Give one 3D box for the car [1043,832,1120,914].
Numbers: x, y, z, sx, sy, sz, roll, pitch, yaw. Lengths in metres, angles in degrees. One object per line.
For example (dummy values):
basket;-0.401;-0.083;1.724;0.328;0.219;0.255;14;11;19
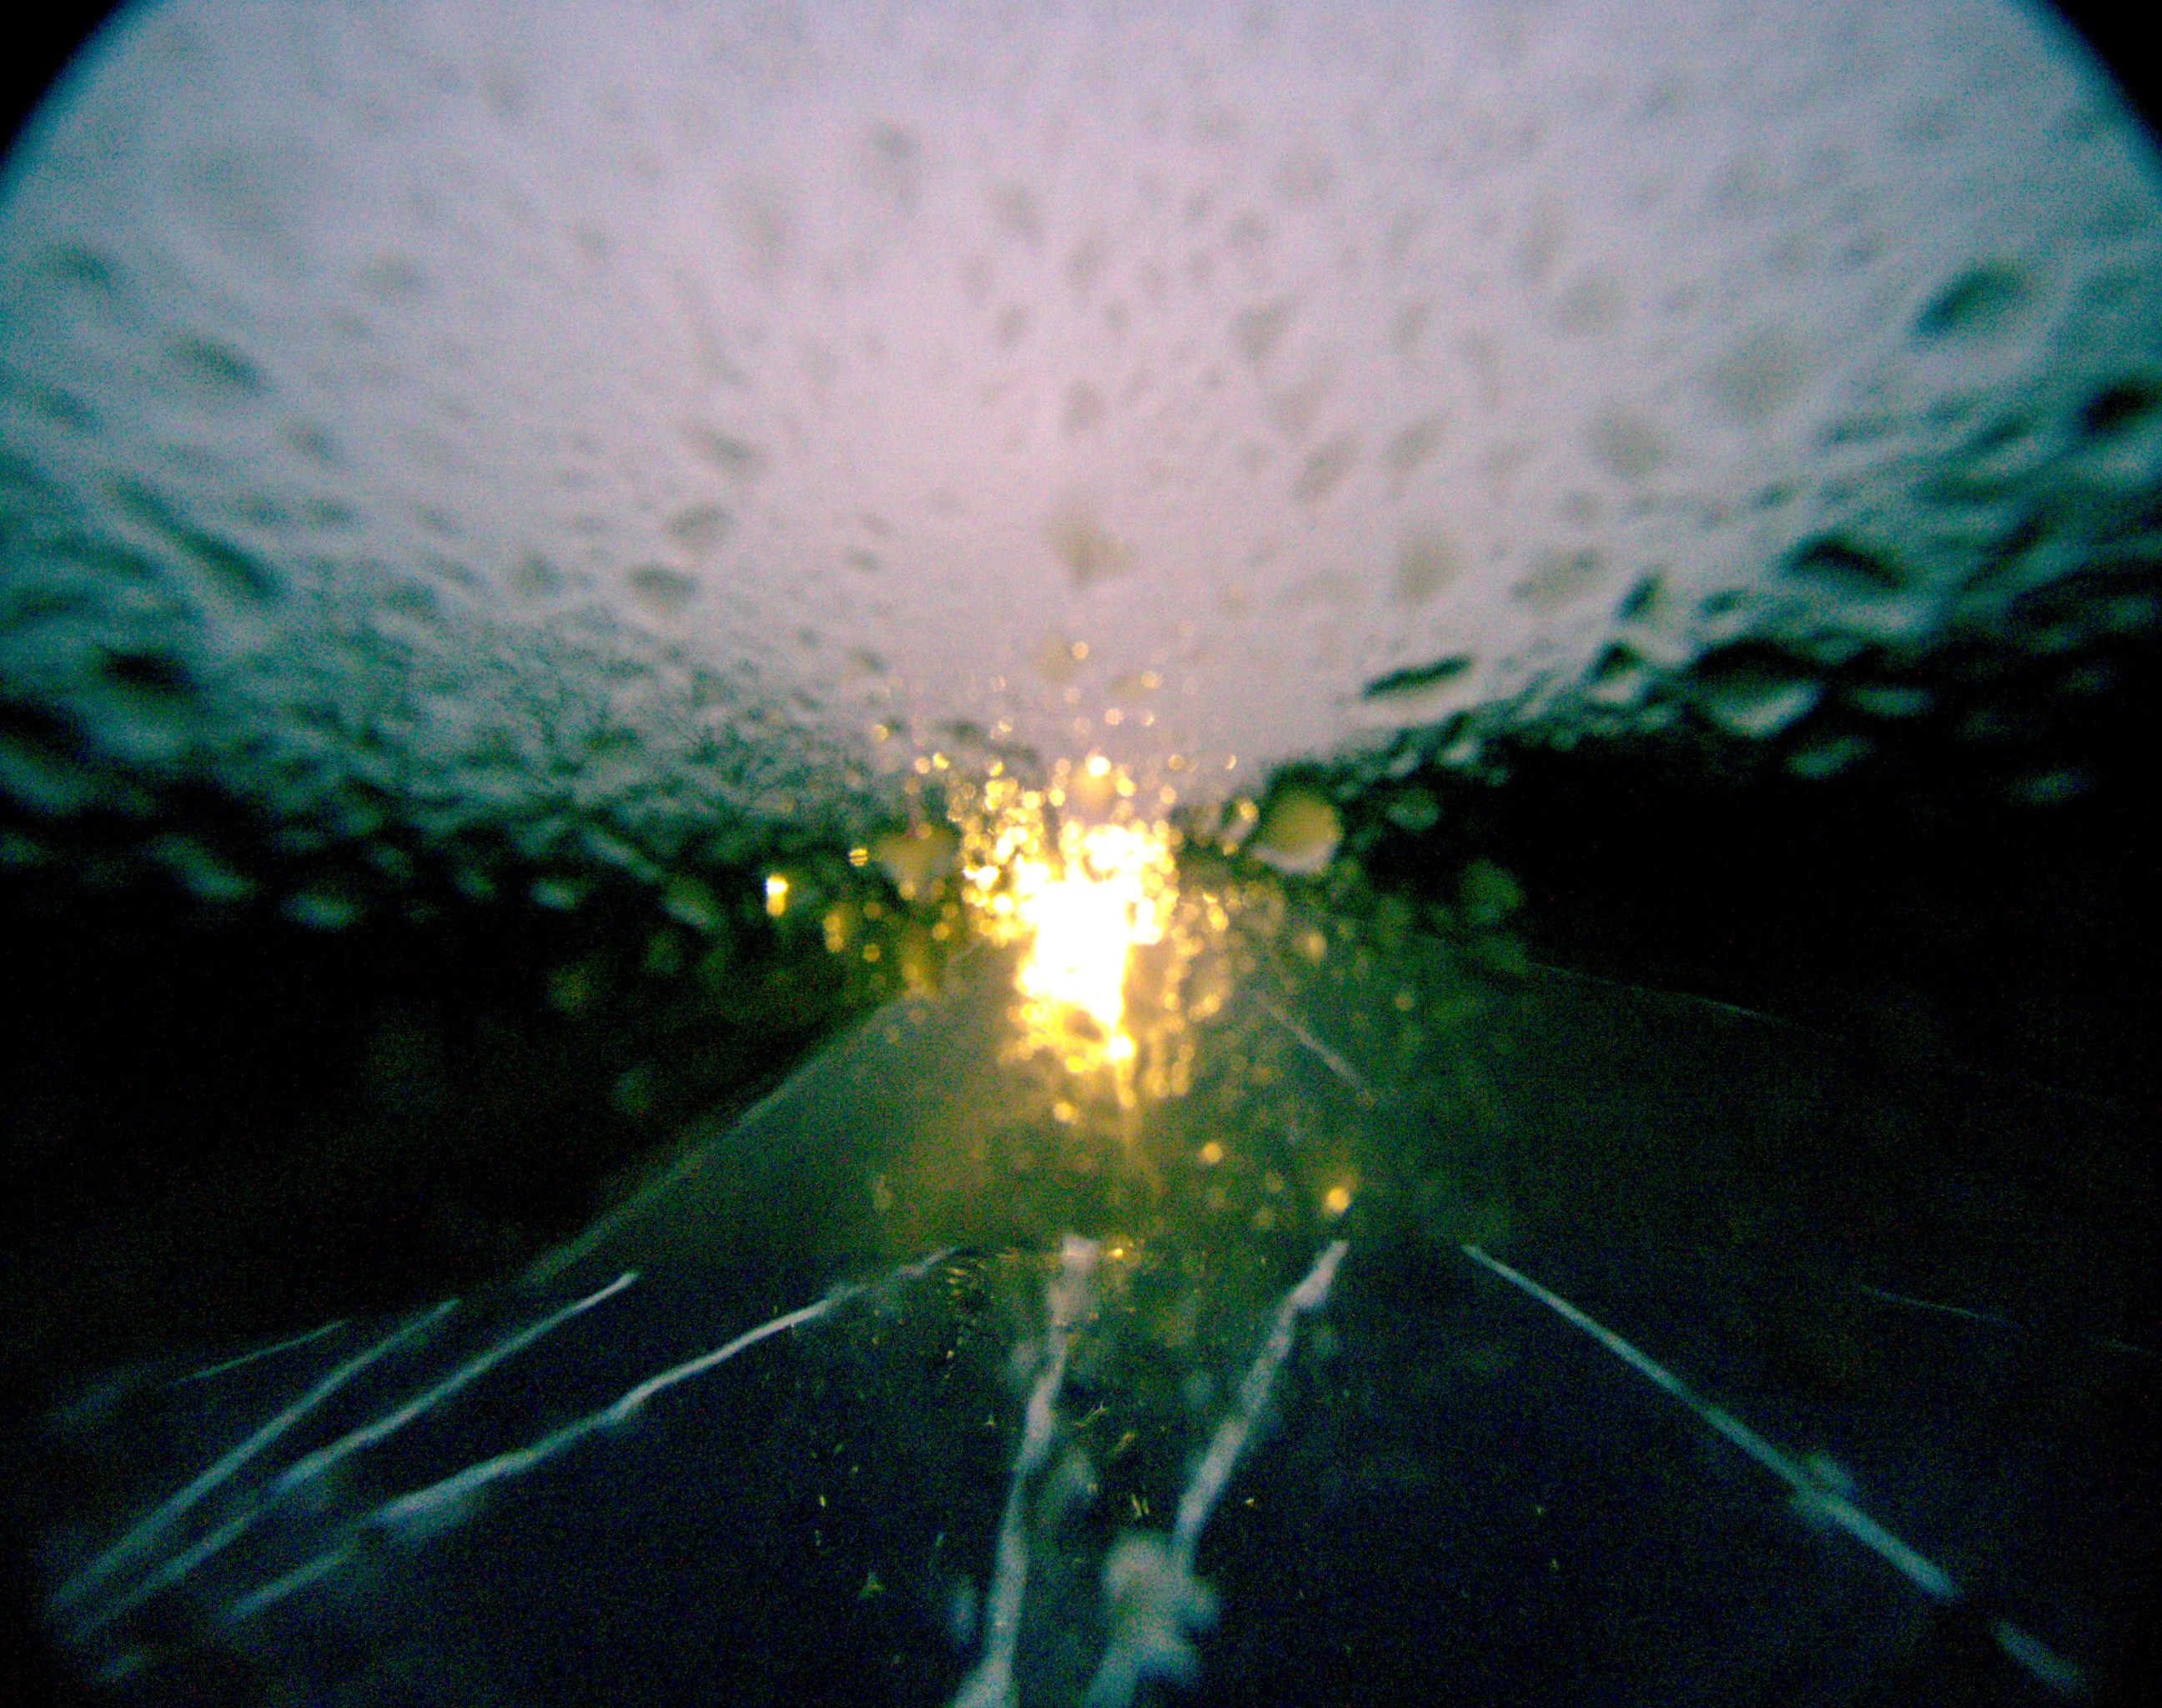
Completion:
car;0.136;0.510;23.169;1.952;2.195;4.536;-2;0;4
